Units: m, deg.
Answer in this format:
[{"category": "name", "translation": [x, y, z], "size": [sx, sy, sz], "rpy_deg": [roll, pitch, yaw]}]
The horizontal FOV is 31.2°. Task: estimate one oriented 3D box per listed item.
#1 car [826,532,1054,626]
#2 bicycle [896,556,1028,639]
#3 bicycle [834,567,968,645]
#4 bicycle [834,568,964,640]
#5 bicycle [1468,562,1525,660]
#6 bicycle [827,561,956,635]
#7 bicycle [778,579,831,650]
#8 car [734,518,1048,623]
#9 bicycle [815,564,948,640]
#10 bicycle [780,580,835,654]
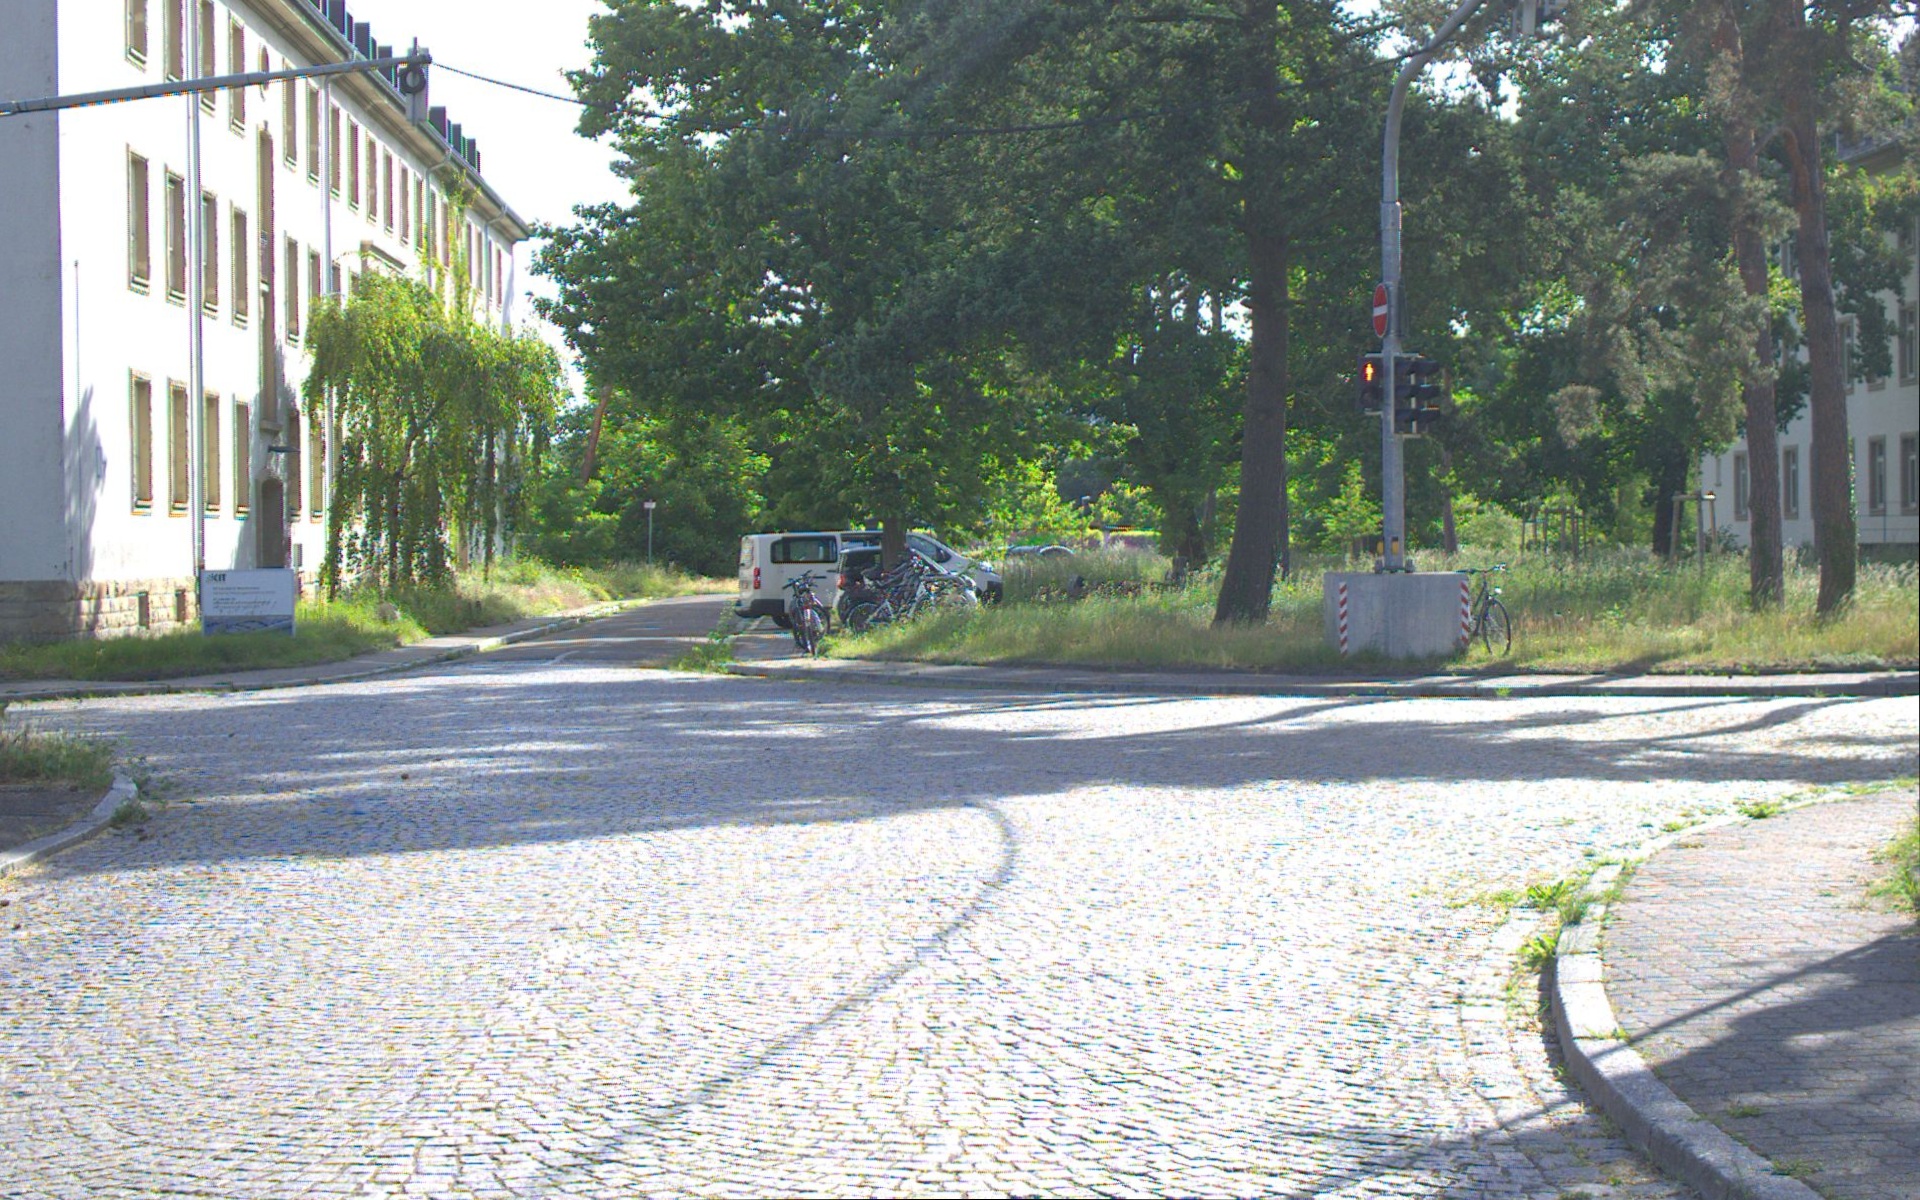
[{"category": "car", "translation": [-0.387, -0.403, 64.001], "size": [3.986, 1.678, 1.848], "rpy_deg": [-1, 1, -9]}, {"category": "bicycle", "translation": [0.031, -0.041, 51.746], "size": [1.940, 1.231, 0.485], "rpy_deg": [0, 1, -4]}, {"category": "bicycle", "translation": [-0.880, 0.088, 51.022], "size": [1.940, 1.125, 0.750], "rpy_deg": [0, 1, -4]}, {"category": "bicycle", "translation": [-0.900, 0.058, 50.223], "size": [1.854, 1.027, 0.750], "rpy_deg": [0, 1, -4]}, {"category": "bicycle", "translation": [5.965, 0.114, 38.250], "size": [0.466, 1.076, 1.173], "rpy_deg": [0, 0, 2]}, {"category": "bicycle", "translation": [-1.067, -0.037, 53.334], "size": [1.940, 1.125, 0.648], "rpy_deg": [-1, 1, -7]}, {"category": "bicycle", "translation": [-2.207, 0.189, 48.645], "size": [0.695, 0.968, 1.861], "rpy_deg": [0, 1, -4]}, {"category": "car", "translation": [-1.403, -0.598, 68.170], "size": [5.929, 2.007, 2.476], "rpy_deg": [-1, 1, -8]}, {"category": "bicycle", "translation": [-1.190, 0.025, 52.232], "size": [1.940, 1.125, 0.648], "rpy_deg": [-1, 1, -28]}, {"category": "bicycle", "translation": [-2.077, 0.223, 46.706], "size": [0.695, 0.968, 1.861], "rpy_deg": [0, 1, -4]}]
